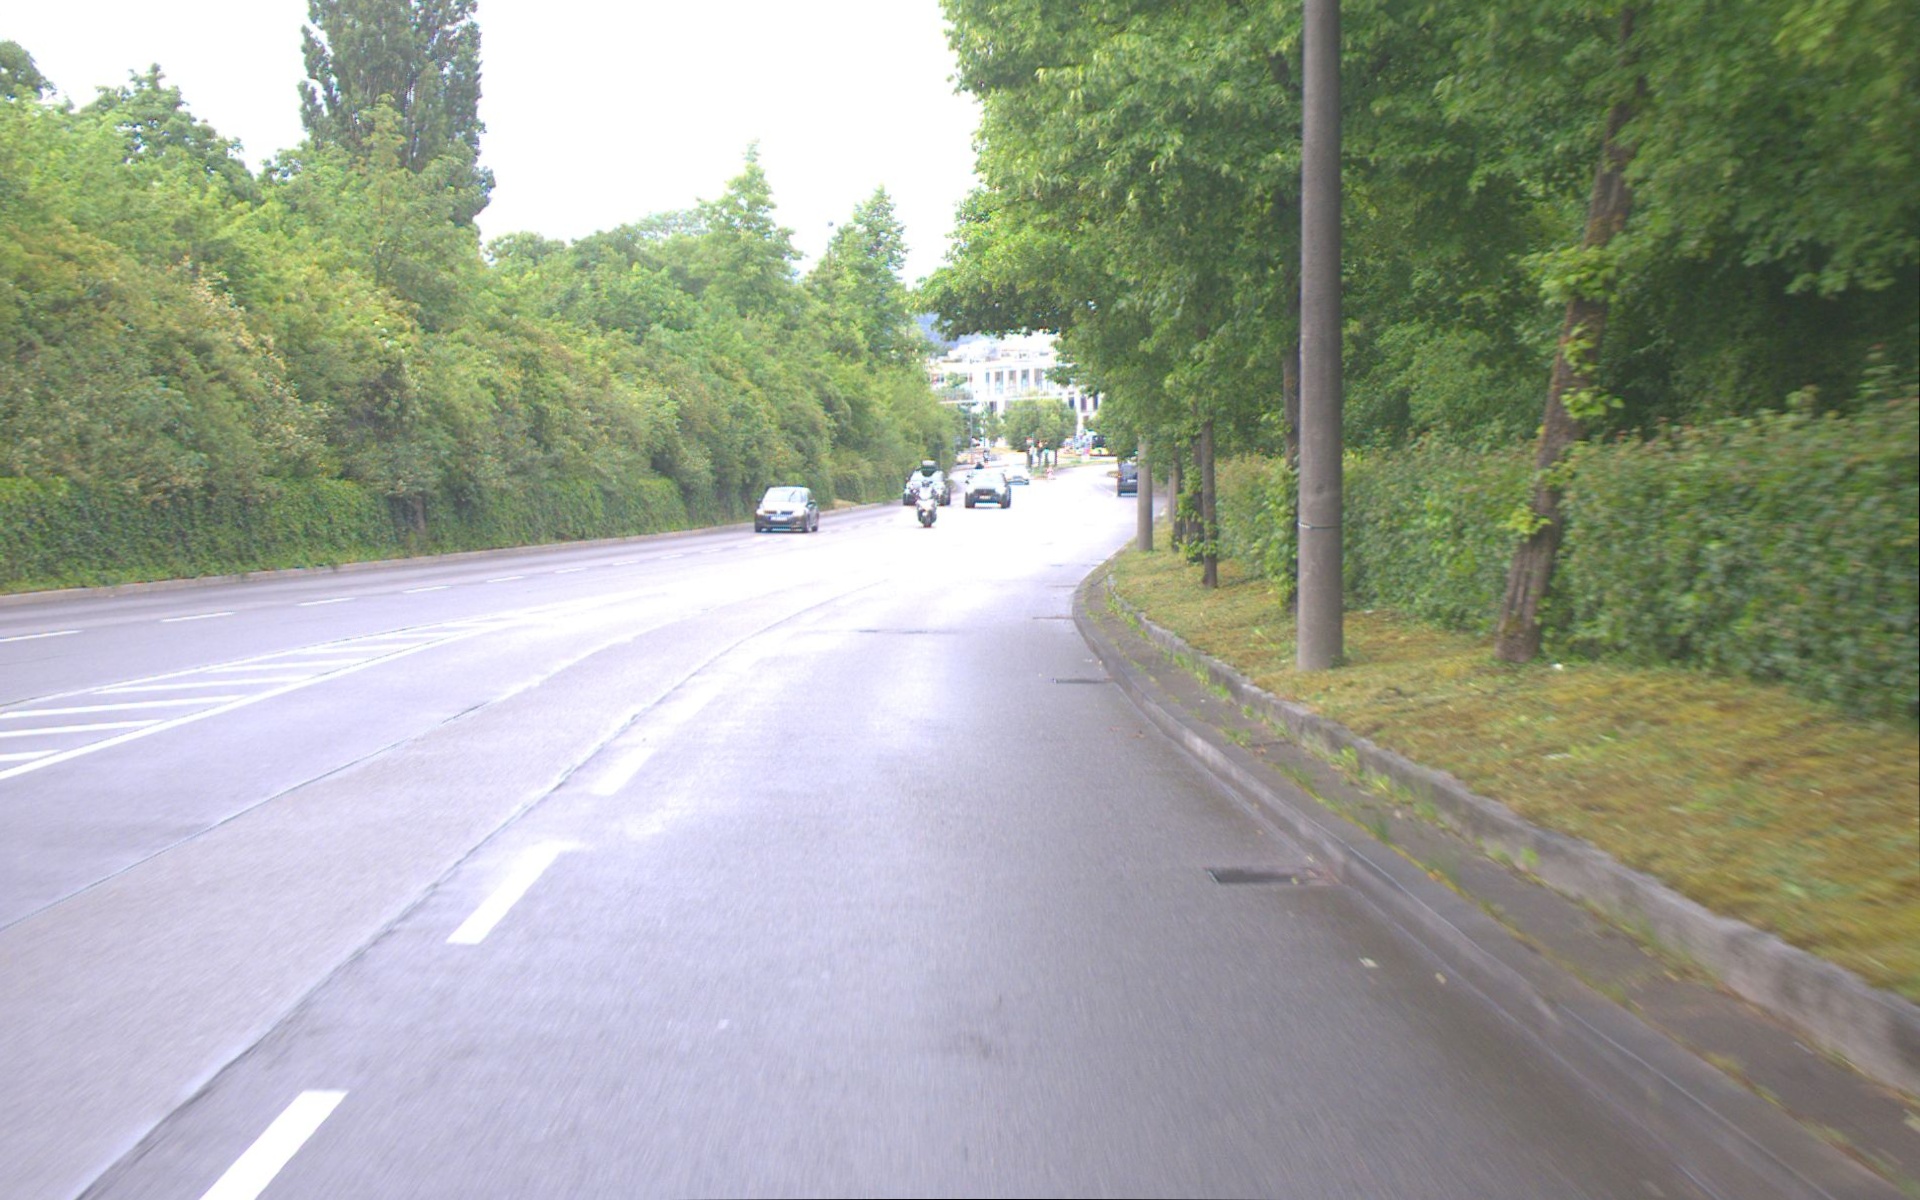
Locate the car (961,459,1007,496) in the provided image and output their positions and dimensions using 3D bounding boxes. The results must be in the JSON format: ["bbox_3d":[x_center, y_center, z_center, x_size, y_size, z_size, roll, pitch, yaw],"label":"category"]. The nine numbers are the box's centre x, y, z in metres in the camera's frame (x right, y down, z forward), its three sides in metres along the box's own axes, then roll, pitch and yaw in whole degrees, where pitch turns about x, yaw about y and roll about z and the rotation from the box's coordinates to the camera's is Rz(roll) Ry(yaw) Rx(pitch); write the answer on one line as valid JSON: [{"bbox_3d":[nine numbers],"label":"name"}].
[{"bbox_3d":[1.121,-5.627,158.358,1.812,1.652,4.595,1,2,4],"label":"car"}]

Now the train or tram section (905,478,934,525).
[{"bbox_3d":[-1.391,-3.364,117.264,0.791,1.564,2.384,2,2,3],"label":"train or tram section"}]

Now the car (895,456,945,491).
[{"bbox_3d":[-1.842,-5.923,161.258,1.899,1.547,4.630,2,2,4],"label":"car"}]

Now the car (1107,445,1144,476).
[{"bbox_3d":[9.517,-8.010,197.556,1.849,1.696,3.792,2,1,6],"label":"car"}]

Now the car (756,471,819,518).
[{"bbox_3d":[-5.364,-3.281,107.046,1.549,1.432,3.696,1,2,4],"label":"car"}]
